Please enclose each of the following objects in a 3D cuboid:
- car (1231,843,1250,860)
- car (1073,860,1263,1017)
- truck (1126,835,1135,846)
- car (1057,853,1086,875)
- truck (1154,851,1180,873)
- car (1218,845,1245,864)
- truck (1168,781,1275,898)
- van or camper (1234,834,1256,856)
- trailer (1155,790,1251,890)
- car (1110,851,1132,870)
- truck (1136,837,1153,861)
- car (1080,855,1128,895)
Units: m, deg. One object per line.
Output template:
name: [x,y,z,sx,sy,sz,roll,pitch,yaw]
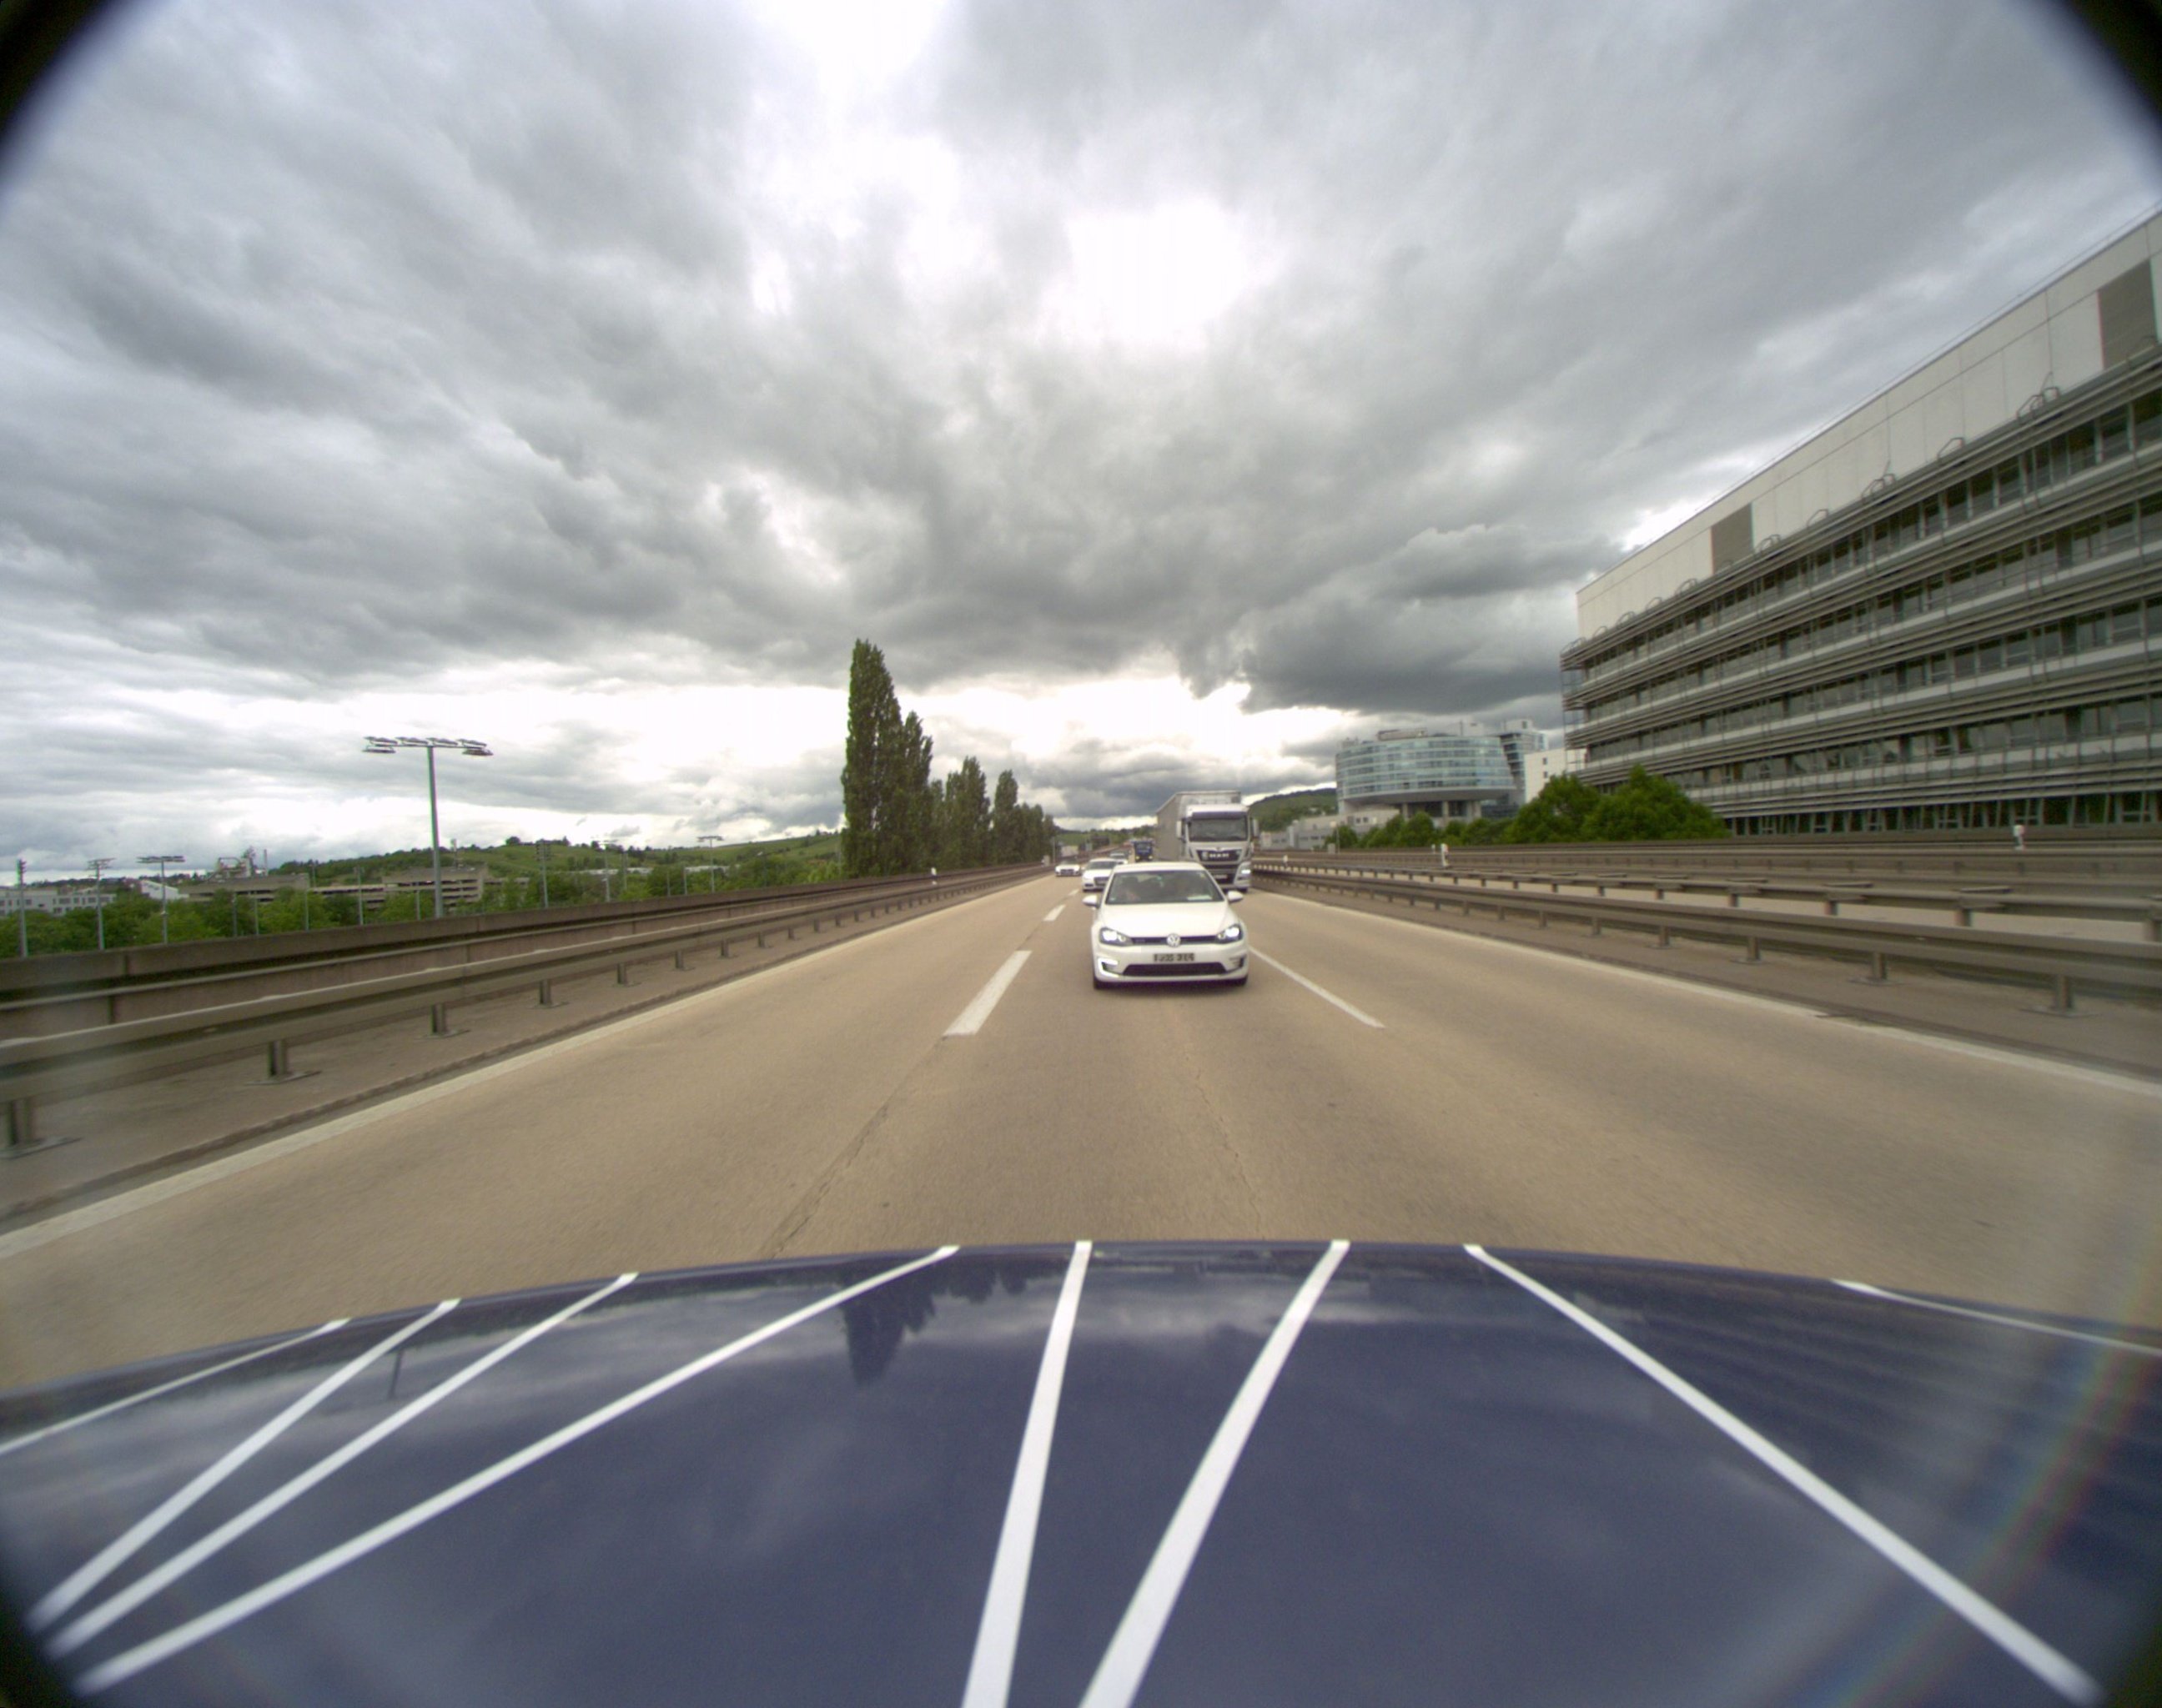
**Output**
car: [18.886,-0.298,90.077,1.686,1.641,4.447,-3,3,5]
car: [1.037,0.903,9.921,1.930,1.499,4.062,-2,1,4]
truck: [16.242,-4.399,247.804,2.625,3.219,6.687,-2,1,4]
car: [-0.729,0.754,59.963,1.930,1.499,4.062,-3,1,4]
truck: [6.737,0.593,59.531,1.829,1.521,3.514,-2,1,4]
car: [15.160,0.026,76.703,1.767,1.641,4.334,-4,1,0]
truck: [5.372,-0.556,30.084,3.142,4.014,5.688,-3,1,2]
van or camper: [24.431,-1.324,113.259,2.176,2.991,7.119,-2,0,5]
trailer: [5.686,-0.662,37.705,3.189,4.003,11.765,-3,1,3]
car: [3.744,0.550,70.122,1.930,1.585,4.062,-3,1,4]
truck: [9.321,-0.770,111.379,2.336,3.219,6.687,-2,1,4]
car: [1.086,0.864,33.650,1.930,1.499,4.062,-3,1,4]
